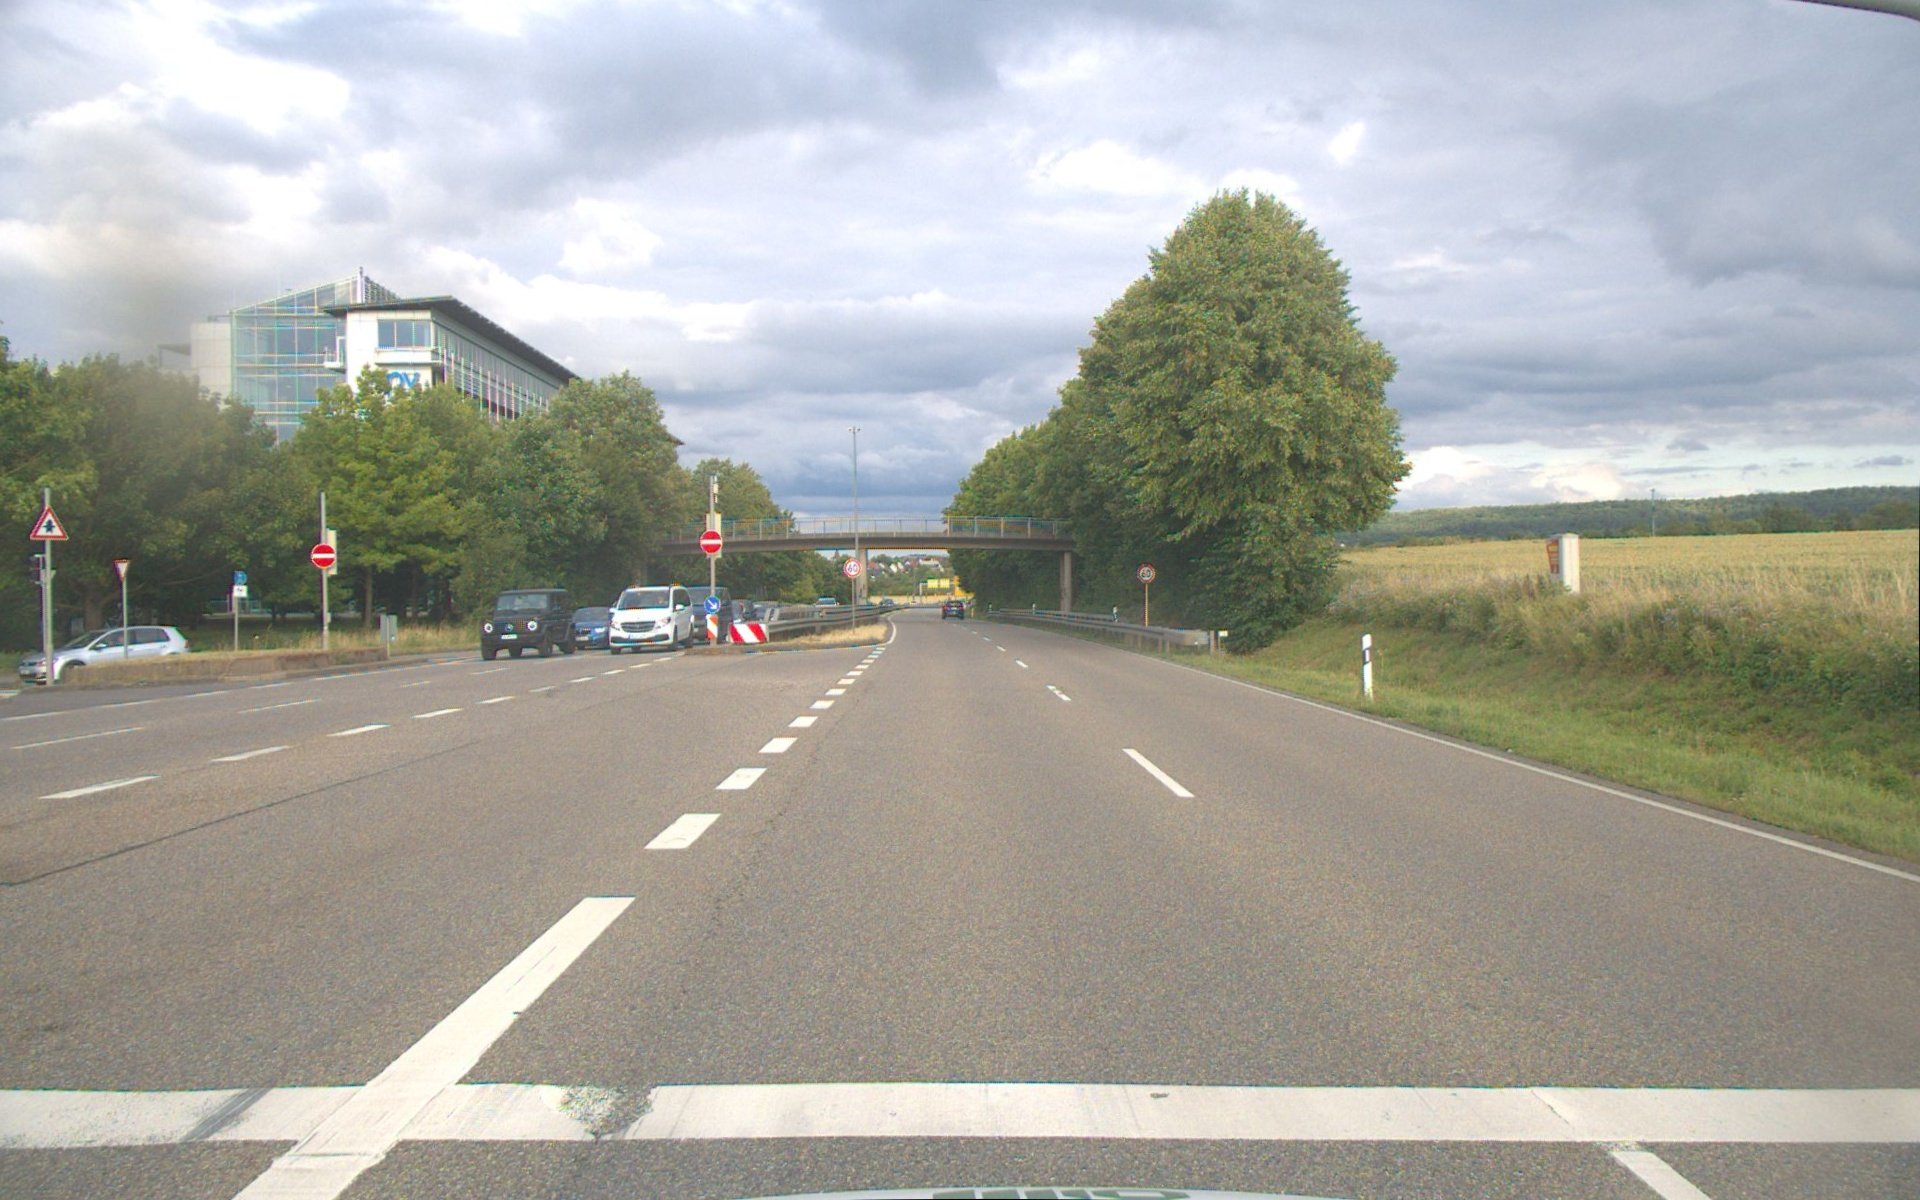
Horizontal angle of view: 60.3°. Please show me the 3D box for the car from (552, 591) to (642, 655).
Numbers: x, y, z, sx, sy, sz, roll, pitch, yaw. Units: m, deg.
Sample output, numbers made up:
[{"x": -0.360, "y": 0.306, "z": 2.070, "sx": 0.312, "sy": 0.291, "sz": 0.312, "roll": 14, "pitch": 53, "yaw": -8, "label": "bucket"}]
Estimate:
[{"x": -12.331, "y": 0.757, "z": 56.542, "sx": 2.041, "sy": 2.049, "sz": 5.214, "roll": 1, "pitch": 0, "yaw": -2, "label": "car"}]

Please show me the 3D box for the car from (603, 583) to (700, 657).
[{"x": -9.106, "y": 0.568, "z": 49.203, "sx": 2.041, "sy": 2.049, "sz": 5.214, "roll": 1, "pitch": 0, "yaw": -2, "label": "car"}]

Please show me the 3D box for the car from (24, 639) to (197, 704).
[{"x": -22.455, "y": 1.874, "z": 43.823, "sx": 1.557, "sy": 1.365, "sz": 3.731, "roll": -4, "pitch": 1, "yaw": 40, "label": "car"}]

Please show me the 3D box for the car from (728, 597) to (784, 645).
[{"x": -9.246, "y": 0.928, "z": 75.287, "sx": 2.041, "sy": 2.049, "sz": 5.214, "roll": 1, "pitch": 0, "yaw": -2, "label": "car"}]

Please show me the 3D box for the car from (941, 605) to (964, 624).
[{"x": -0.655, "y": 1.212, "z": 138.347, "sx": 1.842, "sy": 1.579, "sz": 3.998, "roll": 1, "pitch": 0, "yaw": -2, "label": "car"}]

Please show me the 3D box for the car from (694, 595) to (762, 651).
[{"x": -9.004, "y": 0.871, "z": 64.504, "sx": 2.041, "sy": 2.049, "sz": 5.214, "roll": 1, "pitch": 0, "yaw": -2, "label": "car"}]

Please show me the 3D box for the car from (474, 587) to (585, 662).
[{"x": -12.666, "y": 0.707, "z": 49.037, "sx": 2.041, "sy": 2.049, "sz": 5.214, "roll": 1, "pitch": 0, "yaw": -2, "label": "car"}]

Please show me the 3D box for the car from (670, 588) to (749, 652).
[{"x": -8.566, "y": 0.667, "z": 56.947, "sx": 2.041, "sy": 2.049, "sz": 5.214, "roll": 1, "pitch": 0, "yaw": -2, "label": "car"}]
